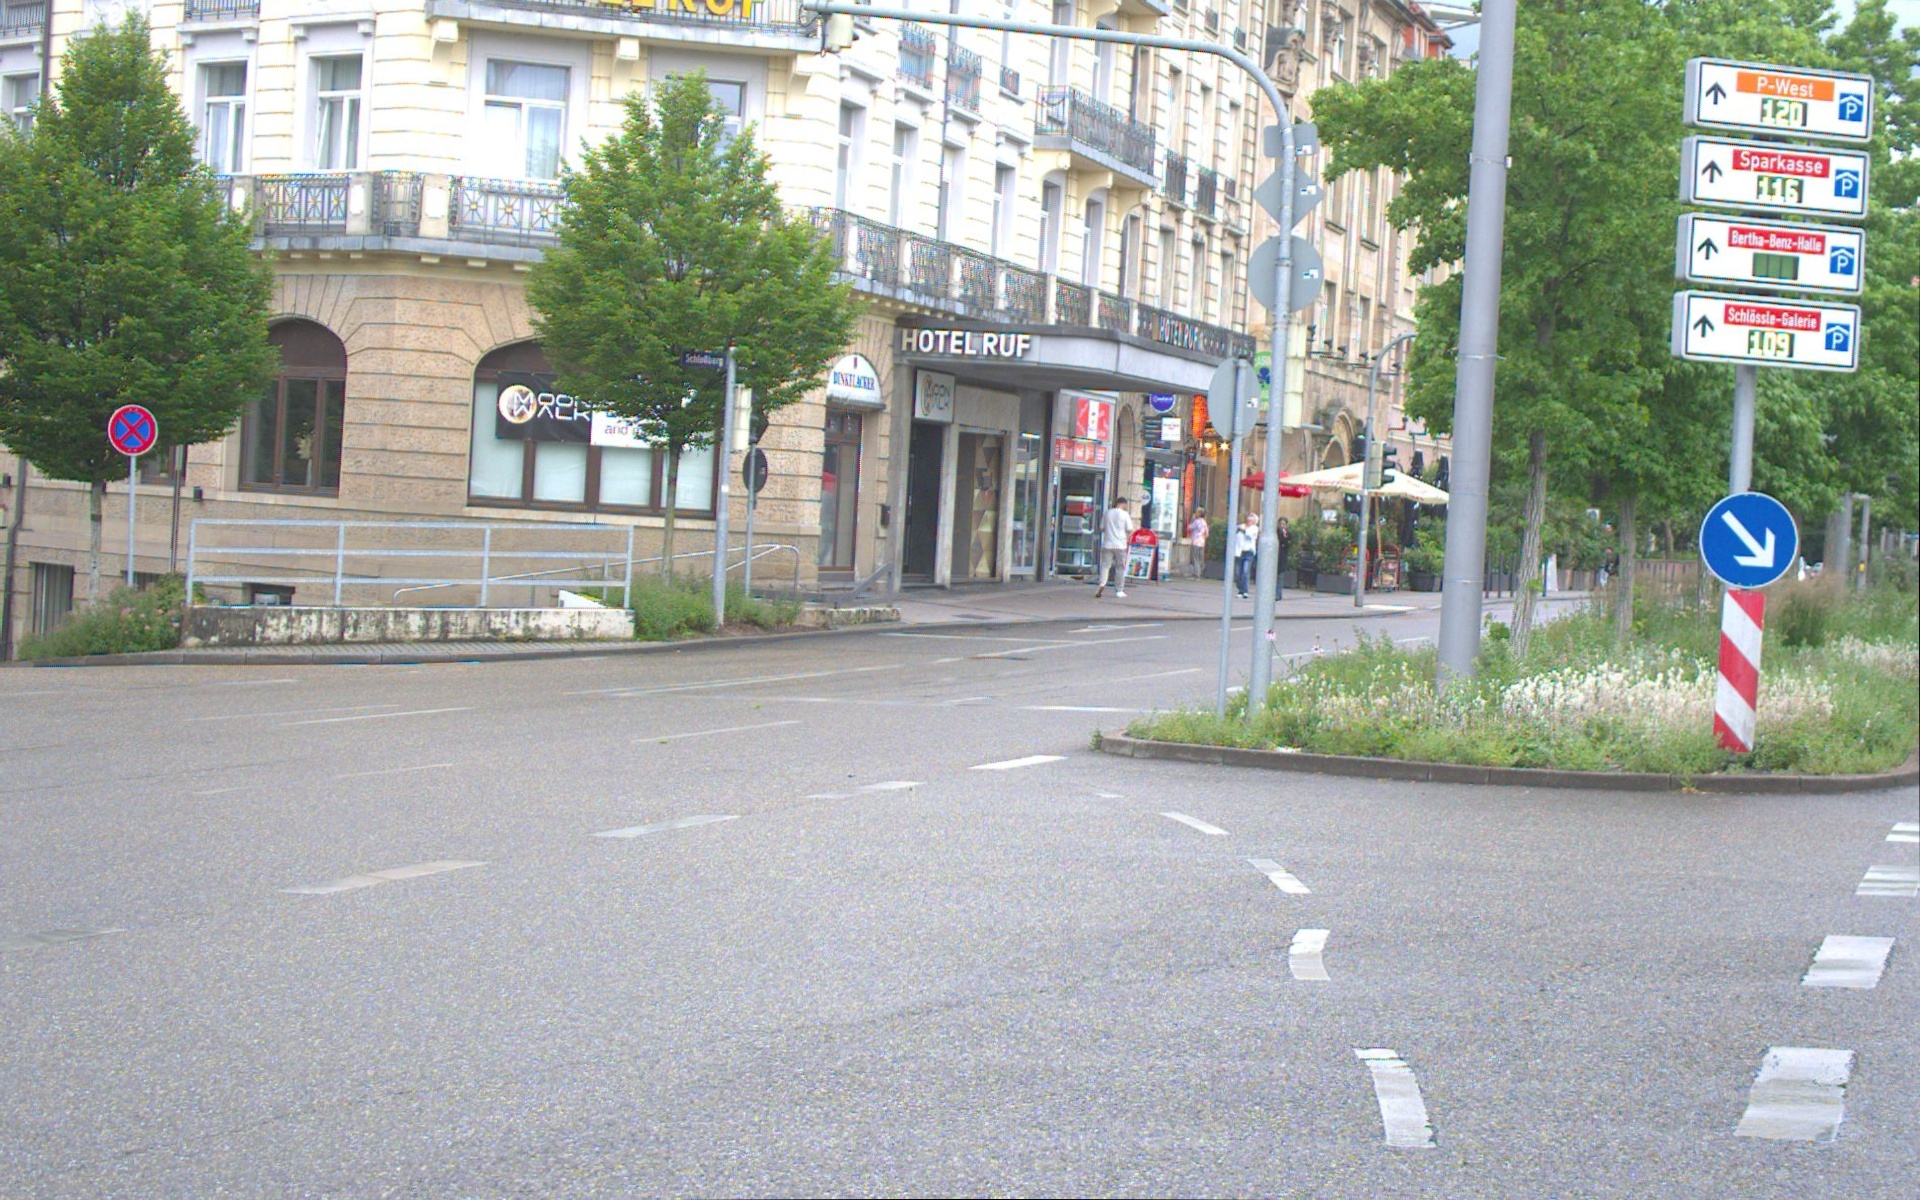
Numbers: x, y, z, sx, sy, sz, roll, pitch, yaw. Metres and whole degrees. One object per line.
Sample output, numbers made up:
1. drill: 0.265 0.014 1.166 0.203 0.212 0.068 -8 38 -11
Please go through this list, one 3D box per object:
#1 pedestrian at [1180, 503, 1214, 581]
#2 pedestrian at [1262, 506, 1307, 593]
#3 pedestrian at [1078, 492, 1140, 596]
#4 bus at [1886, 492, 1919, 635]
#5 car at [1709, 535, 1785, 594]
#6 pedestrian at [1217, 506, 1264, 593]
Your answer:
1. pedestrian: 5.094 -1.254 73.858 0.667 1.658 0.536 1 0 10
2. pedestrian: 6.259 -0.967 66.362 0.682 1.658 0.806 1 0 18
3. pedestrian: 2.607 -0.979 60.122 0.880 1.806 0.750 1 0 18
4. bus: 29.165 -1.034 100.794 3.548 3.966 11.162 1 1 17
5. car: 27.667 -1.223 120.767 1.995 2.007 4.996 1 1 19
6. pedestrian: 5.439 -0.976 66.627 0.682 1.658 0.806 1 0 21
